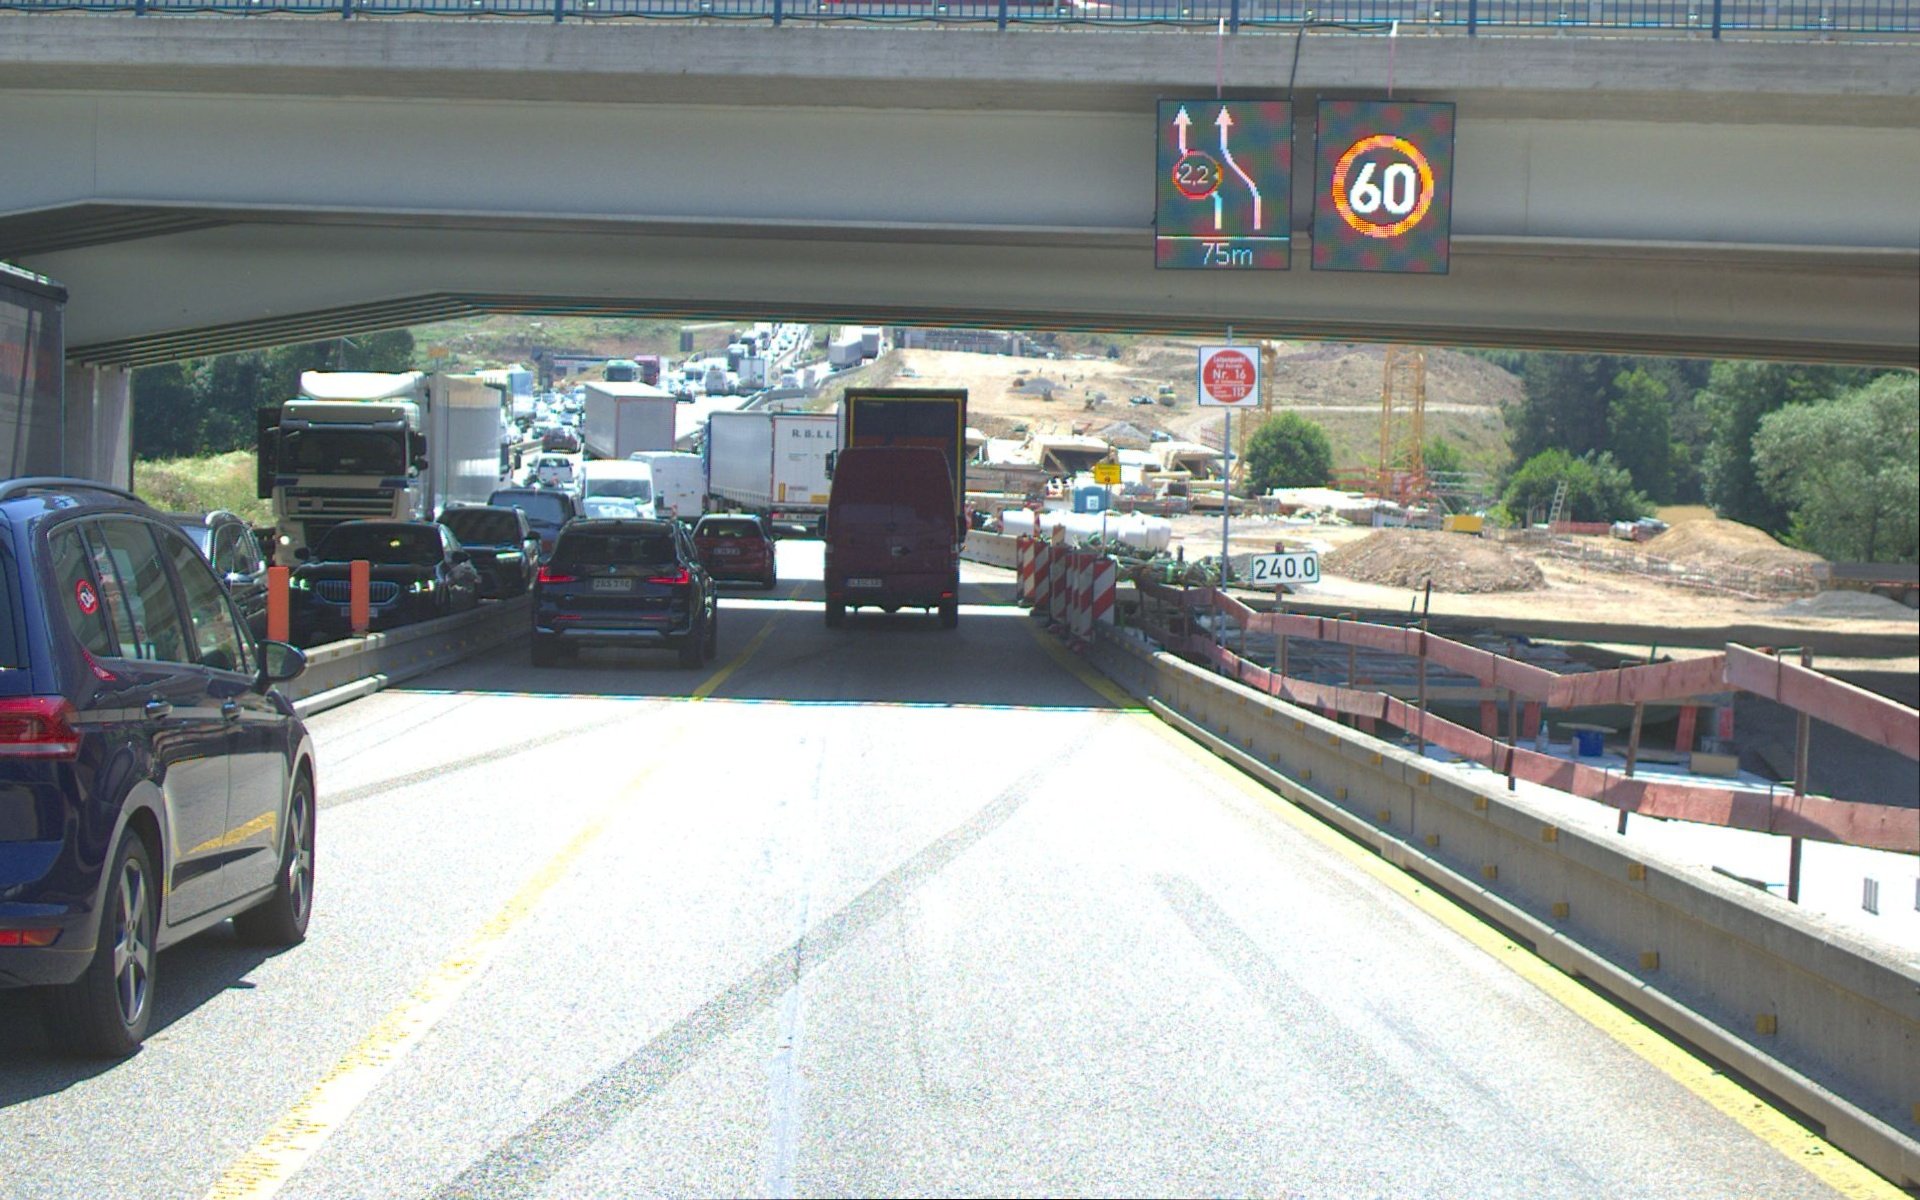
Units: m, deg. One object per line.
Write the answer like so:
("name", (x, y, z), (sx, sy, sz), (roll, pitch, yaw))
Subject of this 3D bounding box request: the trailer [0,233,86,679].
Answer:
("trailer", (-10.354, -1.358, 31.550), (2.812, 4.159, 8.244), (1, 0, -2))

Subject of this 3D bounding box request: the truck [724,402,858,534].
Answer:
("truck", (-5.498, -4.309, 110.863), (3.181, 3.975, 6.745), (1, 4, -12))

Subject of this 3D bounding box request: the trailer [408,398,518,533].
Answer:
("trailer", (-16.544, -4.485, 113.725), (2.876, 4.026, 14.364), (2, 2, -10))

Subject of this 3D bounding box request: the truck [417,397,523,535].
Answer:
("truck", (-15.200, -4.167, 106.412), (2.872, 4.037, 4.887), (2, 2, -11))

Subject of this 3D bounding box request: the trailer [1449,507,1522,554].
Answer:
("trailer", (18.247, -2.422, 119.587), (1.623, 1.481, 3.827), (2, 2, -5))

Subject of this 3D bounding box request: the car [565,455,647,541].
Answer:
("car", (-10.006, -2.875, 96.837), (1.980, 2.322, 6.060), (1, 2, -9))

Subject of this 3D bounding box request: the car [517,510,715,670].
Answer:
("car", (-3.746, -0.147, 38.034), (1.833, 1.630, 4.390), (1, 1, -2))

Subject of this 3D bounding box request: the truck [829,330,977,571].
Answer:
("truck", (-1.251, -3.334, 74.860), (2.944, 4.927, 6.743), (1, 4, -1))

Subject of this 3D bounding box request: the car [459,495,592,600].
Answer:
("car", (-7.258, -0.914, 57.727), (1.722, 1.604, 4.524), (2, 2, -2))

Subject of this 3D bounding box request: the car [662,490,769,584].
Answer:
("car", (-4.829, -1.251, 68.371), (1.833, 1.771, 4.390), (1, 1, -1))

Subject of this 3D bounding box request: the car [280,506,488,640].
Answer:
("car", (-7.046, -0.332, 42.492), (1.855, 1.522, 4.774), (1, 0, -2))

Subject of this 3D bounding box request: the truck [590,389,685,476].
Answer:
("truck", (-13.931, -7.156, 148.063), (3.218, 3.349, 8.943), (1, 0, -10))

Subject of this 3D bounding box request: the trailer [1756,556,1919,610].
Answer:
("trailer", (21.920, -0.398, 83.400), (4.713, 1.215, 2.056), (1, 0, -1))

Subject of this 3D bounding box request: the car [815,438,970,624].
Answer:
("car", (-0.986, -1.005, 51.863), (2.150, 2.602, 5.439), (1, 0, 0))

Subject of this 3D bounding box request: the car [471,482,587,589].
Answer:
("car", (-8.198, -1.249, 65.716), (1.799, 1.926, 4.969), (1, 1, -3))

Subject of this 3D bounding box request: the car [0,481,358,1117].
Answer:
("car", (-3.197, 0.457, 11.012), (1.734, 1.630, 4.390), (1, 1, 0))

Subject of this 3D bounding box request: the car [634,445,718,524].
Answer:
("car", (-9.461, -3.862, 114.248), (2.264, 2.346, 5.162), (1, 4, -10))

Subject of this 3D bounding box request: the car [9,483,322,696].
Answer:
("car", (-7.095, -0.145, 31.155), (1.855, 1.750, 4.609), (1, 1, -2))

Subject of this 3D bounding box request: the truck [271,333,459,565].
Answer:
("truck", (-11.212, -2.780, 65.206), (2.659, 4.156, 5.187), (1, 0, -1))

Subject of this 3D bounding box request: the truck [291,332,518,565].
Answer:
("truck", (-11.363, -2.937, 71.693), (2.769, 4.299, 13.491), (1, 0, -1))
